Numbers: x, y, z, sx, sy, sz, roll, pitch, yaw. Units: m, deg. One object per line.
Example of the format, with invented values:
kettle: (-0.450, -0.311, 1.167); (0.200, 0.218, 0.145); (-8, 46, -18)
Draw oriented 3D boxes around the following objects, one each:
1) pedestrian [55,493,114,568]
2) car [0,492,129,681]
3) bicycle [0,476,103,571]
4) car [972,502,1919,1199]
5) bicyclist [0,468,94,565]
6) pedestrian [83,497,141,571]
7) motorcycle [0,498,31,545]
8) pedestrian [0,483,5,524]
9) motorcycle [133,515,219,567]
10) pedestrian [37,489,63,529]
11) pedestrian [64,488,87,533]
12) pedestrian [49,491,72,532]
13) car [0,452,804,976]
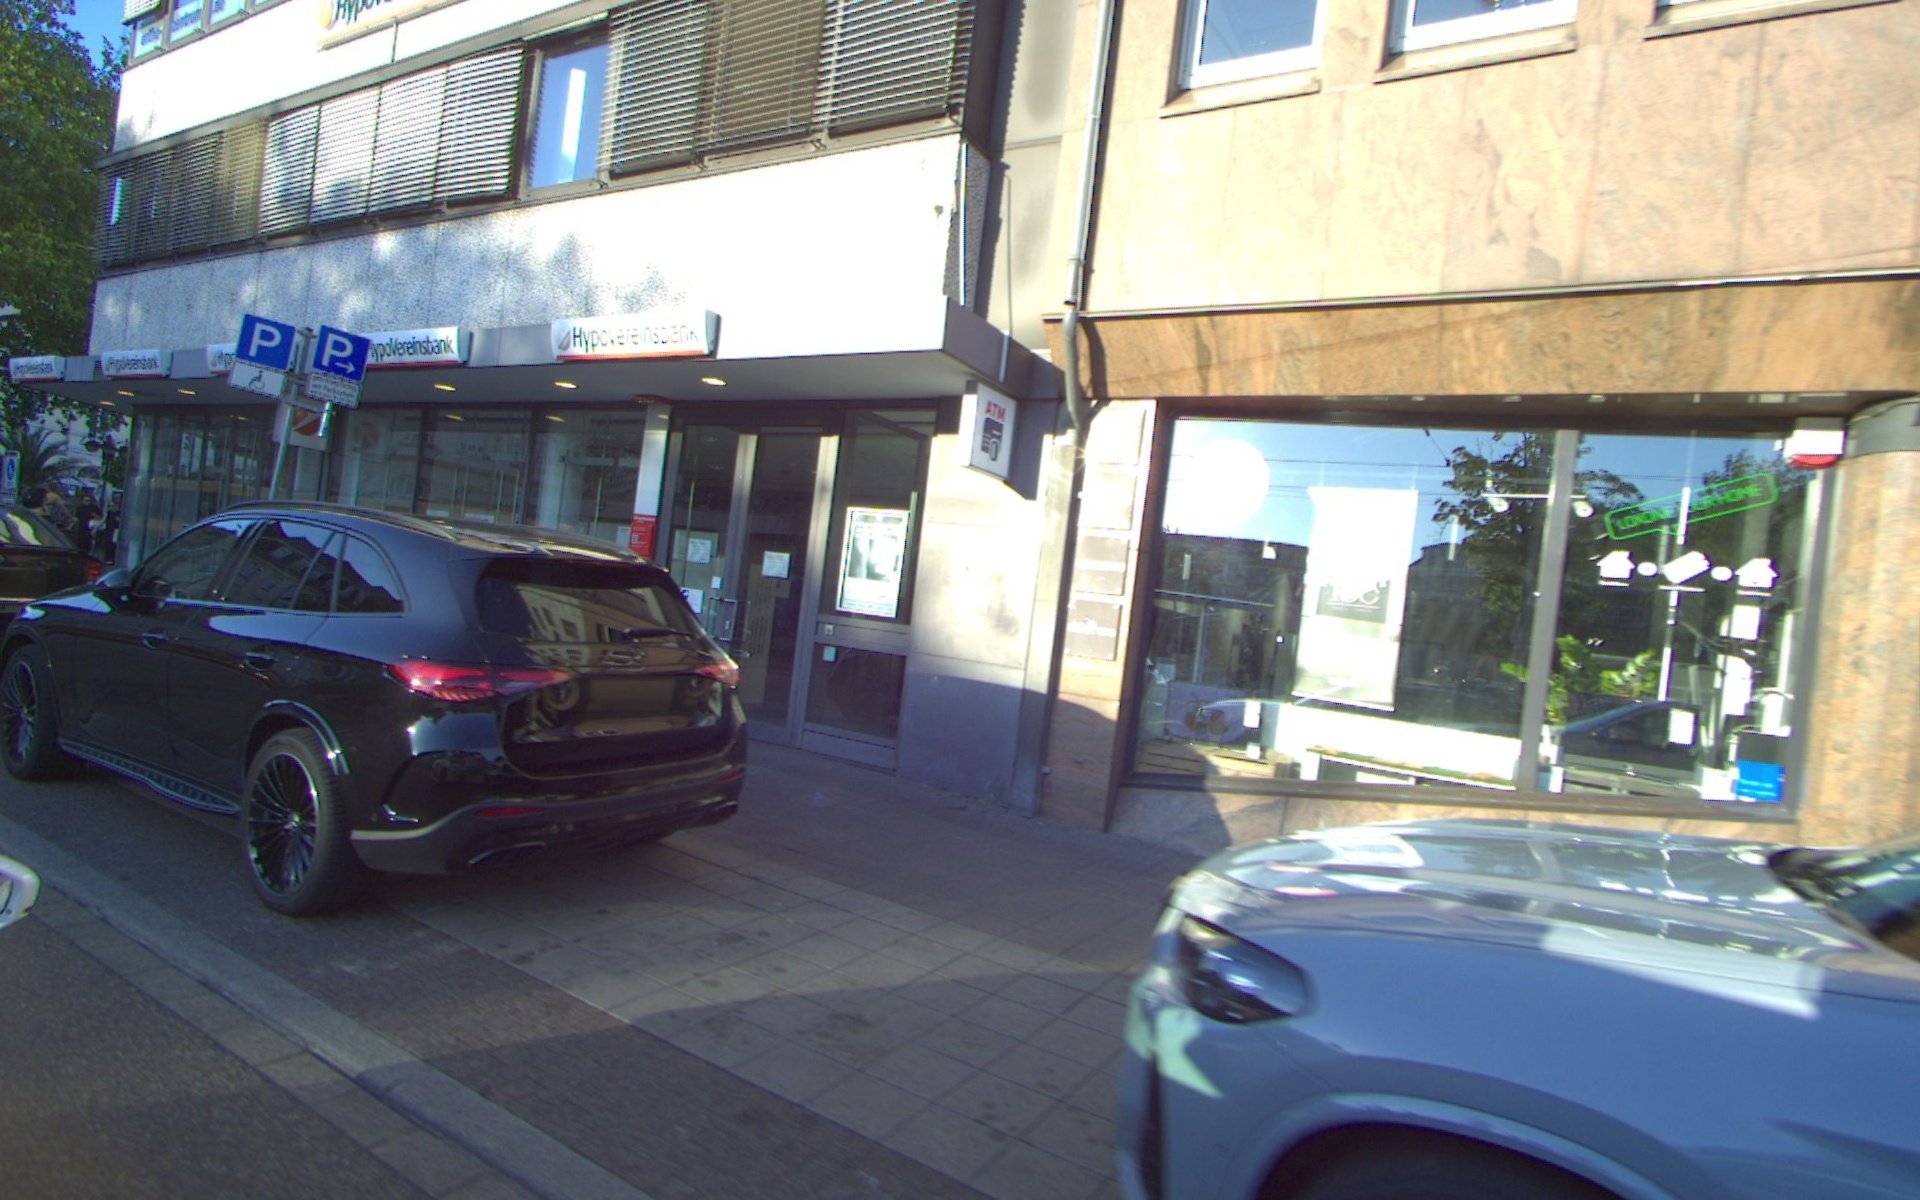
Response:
pedestrian: (-22.305, -1.761, 25.648); (0.647, 1.762, 0.823); (5, -1, -7)
car: (-9.096, -0.290, 8.693); (4.269, 1.399, 1.655); (7, 3, 32)
bicycle: (-19.005, -1.544, 20.902); (0.593, 1.760, 2.363); (7, -1, -12)
car: (2.514, 0.904, 1.545); (4.646, 1.604, 1.819); (7, -1, 33)
bicyclist: (-18.960, -1.709, 20.905); (0.955, 1.797, 0.930); (7, 0, -12)
pedestrian: (-21.589, -1.672, 25.630); (0.647, 1.744, 0.823); (5, -1, -7)
motorcycle: (-26.156, -2.215, 27.054); (1.764, 1.164, 0.553); (9, 0, 5)
pedestrian: (-30.898, -3.097, 32.113); (0.472, 1.300, 0.534); (6, -1, -42)
motorcycle: (-23.788, -1.776, 30.534); (1.923, 1.297, 0.562); (8, -1, -6)
pedestrian: (-32.038, -3.203, 35.420); (0.469, 1.300, 0.537); (5, -1, 41)
pedestrian: (-29.323, -2.944, 33.340); (0.472, 1.416, 0.534); (6, -1, -42)
pedestrian: (-30.184, -2.971, 33.752); (0.472, 1.300, 0.534); (6, -1, -42)
car: (-3.207, 0.277, 5.275); (4.501, 1.557, 1.778); (8, 0, 31)
